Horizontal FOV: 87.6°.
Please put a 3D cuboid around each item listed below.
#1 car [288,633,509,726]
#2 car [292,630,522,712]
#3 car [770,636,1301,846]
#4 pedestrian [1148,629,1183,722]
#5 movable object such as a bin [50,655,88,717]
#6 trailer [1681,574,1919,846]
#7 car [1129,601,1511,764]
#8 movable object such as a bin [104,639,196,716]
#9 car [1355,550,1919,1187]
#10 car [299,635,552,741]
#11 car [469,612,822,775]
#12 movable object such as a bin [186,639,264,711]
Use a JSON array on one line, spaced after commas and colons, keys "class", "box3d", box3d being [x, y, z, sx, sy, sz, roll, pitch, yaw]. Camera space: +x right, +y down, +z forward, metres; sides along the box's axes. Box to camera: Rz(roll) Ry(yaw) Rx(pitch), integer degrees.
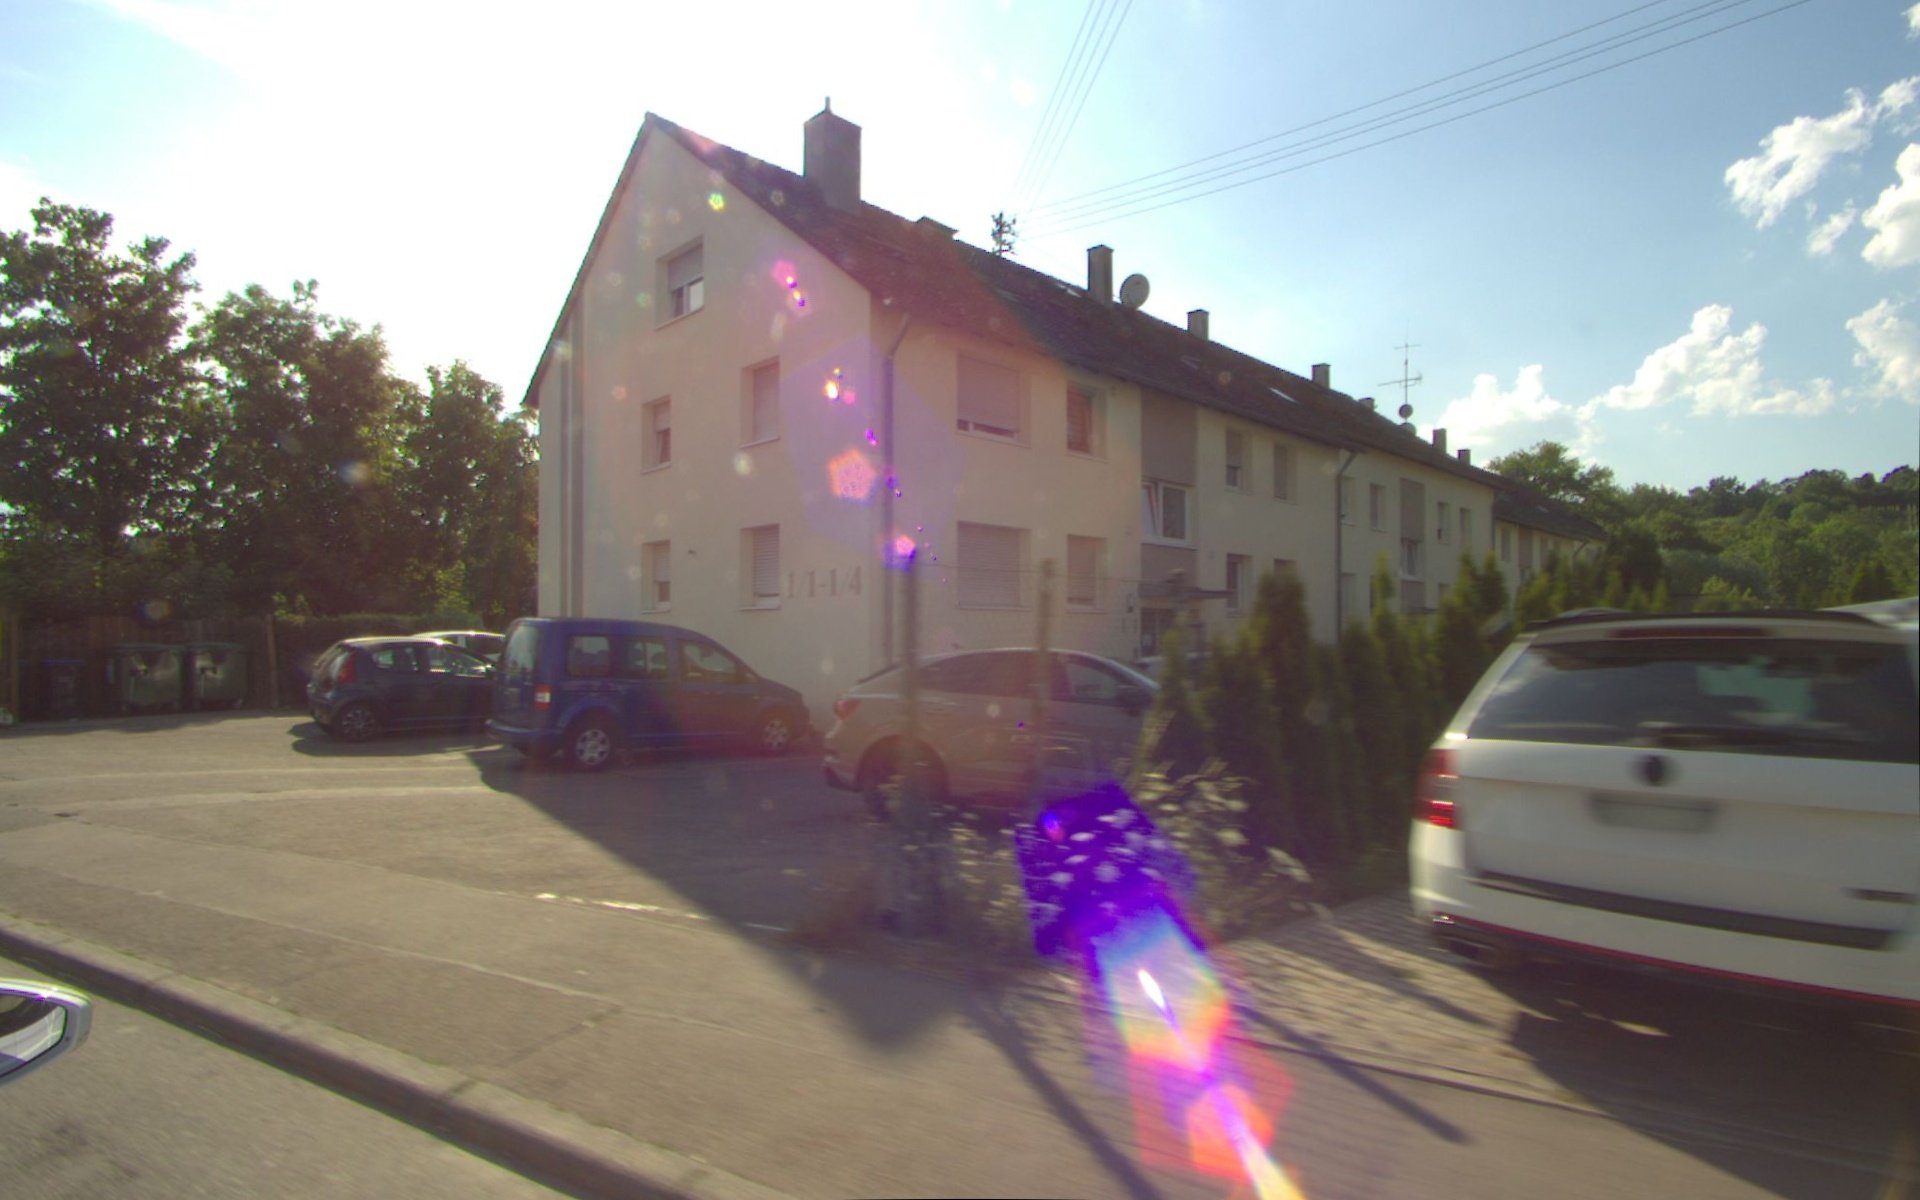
[{"class": "car", "box3d": [-9.908, 1.349, 17.775, 1.560, 1.469, 3.109, 0, -2, 45]}, {"class": "car", "box3d": [-10.992, 1.377, 20.064, 1.619, 1.469, 3.722, 0, -2, 45]}, {"class": "car", "box3d": [0.665, 1.132, 8.716, 4.197, 1.537, 1.701, 0, -5, 13]}, {"class": "pedestrian", "box3d": [3.866, 1.403, 18.856, 0.530, 1.726, 0.409, 1, -1, -42]}, {"class": "movable object such as a bin", "box3d": [-15.881, 1.523, 17.851, 0.436, 1.058, 0.429, 0, -1, 40]}, {"class": "trailer", "box3d": [7.039, 0.738, 6.838, 1.509, 1.774, 3.190, 2, -2, -40]}, {"class": "car", "box3d": [3.715, 0.861, 10.877, 3.608, 1.563, 1.766, 0, -4, 13]}, {"class": "movable object such as a bin", "box3d": [-15.196, 1.430, 18.790, 1.033, 1.354, 1.147, 0, -2, 40]}, {"class": "car", "box3d": [3.499, 0.713, 4.223, 4.436, 1.476, 1.715, 3, -3, -44]}, {"class": "car", "box3d": [-8.317, 1.307, 15.710, 3.187, 1.469, 1.634, 3, -2, -43]}, {"class": "car", "box3d": [-4.090, 1.145, 13.505, 1.749, 1.810, 4.176, 2, 0, 45]}, {"class": "movable object such as a bin", "box3d": [-14.492, 1.453, 19.748, 0.992, 1.354, 1.036, 0, -2, 40]}]
